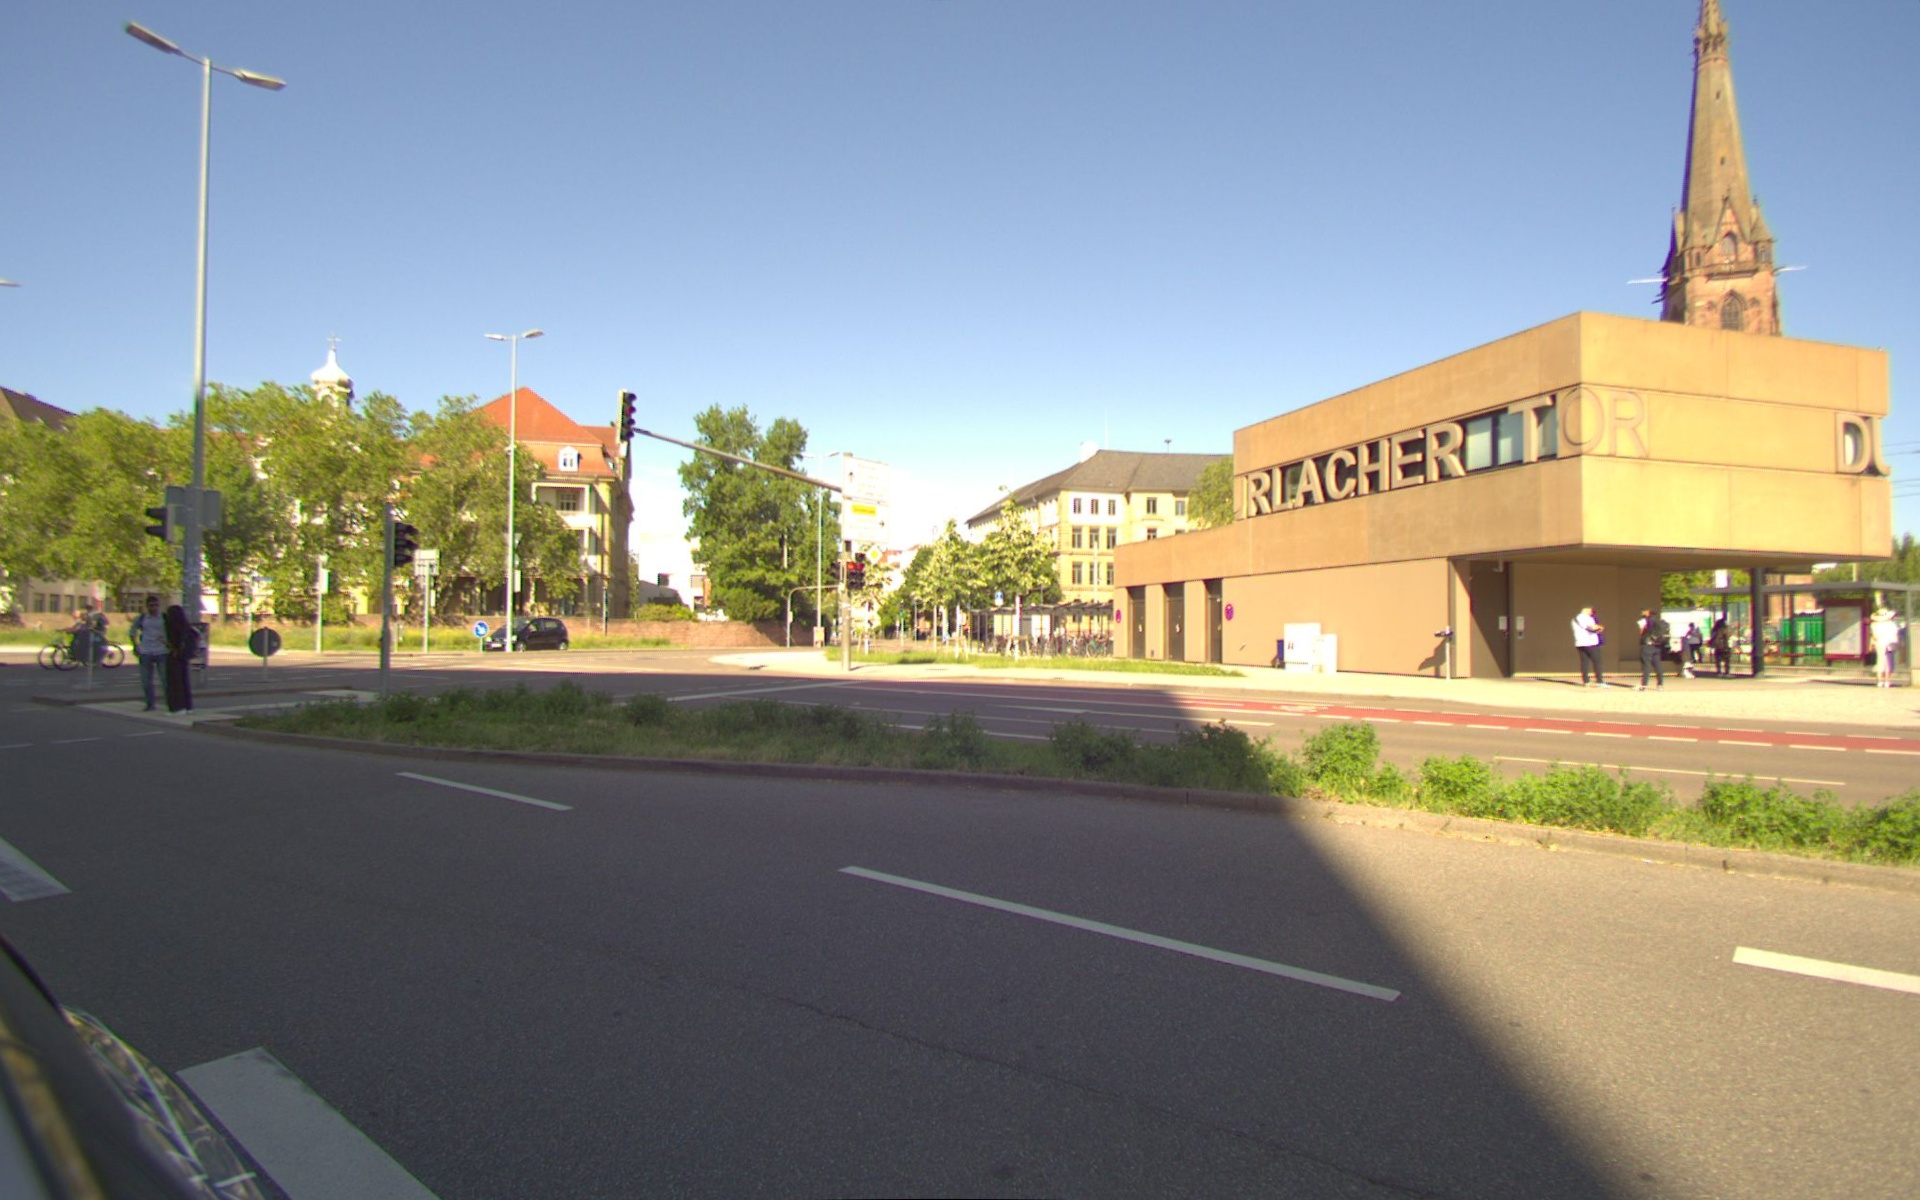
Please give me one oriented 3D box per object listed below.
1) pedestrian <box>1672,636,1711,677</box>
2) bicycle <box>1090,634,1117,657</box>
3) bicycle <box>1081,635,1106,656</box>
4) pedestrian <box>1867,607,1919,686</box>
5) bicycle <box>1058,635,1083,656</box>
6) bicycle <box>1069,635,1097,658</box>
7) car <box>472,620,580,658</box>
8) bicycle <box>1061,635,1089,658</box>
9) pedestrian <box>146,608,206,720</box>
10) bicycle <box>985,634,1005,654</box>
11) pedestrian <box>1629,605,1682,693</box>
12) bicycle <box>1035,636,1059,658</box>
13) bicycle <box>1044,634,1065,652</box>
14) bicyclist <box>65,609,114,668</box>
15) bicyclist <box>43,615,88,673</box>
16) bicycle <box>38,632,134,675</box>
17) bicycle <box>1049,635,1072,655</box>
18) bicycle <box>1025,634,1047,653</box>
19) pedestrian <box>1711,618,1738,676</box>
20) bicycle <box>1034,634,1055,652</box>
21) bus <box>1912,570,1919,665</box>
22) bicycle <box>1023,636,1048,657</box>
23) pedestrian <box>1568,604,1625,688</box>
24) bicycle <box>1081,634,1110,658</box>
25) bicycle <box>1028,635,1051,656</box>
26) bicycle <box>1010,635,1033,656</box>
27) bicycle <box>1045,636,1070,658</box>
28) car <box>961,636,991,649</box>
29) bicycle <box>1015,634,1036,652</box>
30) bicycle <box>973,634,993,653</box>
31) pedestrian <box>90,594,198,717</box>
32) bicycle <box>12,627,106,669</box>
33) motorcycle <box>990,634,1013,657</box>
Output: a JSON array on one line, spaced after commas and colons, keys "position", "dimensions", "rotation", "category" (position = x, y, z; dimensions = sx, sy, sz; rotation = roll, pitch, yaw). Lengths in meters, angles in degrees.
[{"position": [18.204, 1.397, 25.183], "dimensions": [0.501, 0.973, 0.576], "rotation": [1, 0, -10], "category": "pedestrian"}, {"position": [6.980, 2.213, 49.311], "dimensions": [0.558, 1.046, 1.793], "rotation": [2, -2, -19], "category": "bicycle"}, {"position": [6.960, 2.357, 52.794], "dimensions": [0.558, 1.046, 1.793], "rotation": [2, -2, -19], "category": "bicycle"}, {"position": [21.088, 1.029, 22.779], "dimensions": [0.777, 1.736, 0.649], "rotation": [1, 0, -16], "category": "pedestrian"}, {"position": [5.715, 2.347, 52.401], "dimensions": [0.558, 1.046, 1.793], "rotation": [2, -2, -19], "category": "bicycle"}, {"position": [5.893, 2.212, 48.618], "dimensions": [0.558, 1.046, 1.793], "rotation": [2, -2, -19], "category": "bicycle"}, {"position": [-18.673, 1.678, 43.726], "dimensions": [1.984, 1.484, 4.271], "rotation": [-3, -3, 18], "category": "car"}, {"position": [5.291, 2.126, 46.514], "dimensions": [0.558, 1.046, 1.793], "rotation": [2, -2, -19], "category": "bicycle"}, {"position": [-11.691, 0.933, 15.114], "dimensions": [0.671, 1.624, 0.721], "rotation": [1, -2, -36], "category": "pedestrian"}, {"position": [1.981, 2.485, 57.365], "dimensions": [0.558, 1.046, 1.793], "rotation": [2, -2, -19], "category": "bicycle"}, {"position": [14.185, 0.971, 20.631], "dimensions": [0.633, 1.736, 0.749], "rotation": [1, 0, -43], "category": "pedestrian"}, {"position": [4.469, 2.401, 51.946], "dimensions": [0.558, 1.046, 1.793], "rotation": [2, -2, -19], "category": "bicycle"}, {"position": [5.649, 2.582, 60.790], "dimensions": [0.558, 1.046, 1.793], "rotation": [2, -2, -19], "category": "bicycle"}, {"position": [-25.006, 1.097, 29.074], "dimensions": [0.779, 1.675, 0.772], "rotation": [-2, -2, 19], "category": "bicyclist"}, {"position": [-26.109, 1.274, 29.533], "dimensions": [0.639, 1.675, 0.771], "rotation": [-2, -2, 21], "category": "bicyclist"}, {"position": [-25.021, 1.525, 29.018], "dimensions": [0.773, 1.174, 1.955], "rotation": [-2, -3, 18], "category": "bicycle"}, {"position": [5.411, 2.412, 54.602], "dimensions": [0.558, 1.046, 1.793], "rotation": [2, -2, -19], "category": "bicycle"}, {"position": [4.347, 2.479, 58.071], "dimensions": [0.558, 1.046, 1.793], "rotation": [2, -2, -19], "category": "bicycle"}, {"position": [20.322, 1.235, 26.898], "dimensions": [0.509, 1.521, 0.738], "rotation": [1, 0, 41], "category": "pedestrian"}, {"position": [5.033, 2.581, 60.569], "dimensions": [0.558, 1.046, 1.793], "rotation": [2, -2, -19], "category": "bicycle"}, {"position": [35.536, 0.389, 28.701], "dimensions": [2.923, 3.240, 12.624], "rotation": [0, -2, -16], "category": "bus"}, {"position": [3.847, 2.371, 51.747], "dimensions": [0.558, 1.046, 1.793], "rotation": [2, -2, -19], "category": "bicycle"}, {"position": [13.411, 0.959, 21.328], "dimensions": [0.778, 1.736, 0.596], "rotation": [1, 0, -3], "category": "pedestrian"}, {"position": [6.233, 2.105, 46.639], "dimensions": [0.558, 1.046, 1.793], "rotation": [2, -2, -19], "category": "bicycle"}, {"position": [4.245, 2.433, 54.106], "dimensions": [0.558, 1.046, 1.793], "rotation": [2, -2, -19], "category": "bicycle"}, {"position": [3.237, 2.412, 53.505], "dimensions": [0.558, 1.046, 1.793], "rotation": [2, -2, -19], "category": "bicycle"}, {"position": [5.030, 2.418, 52.140], "dimensions": [0.558, 1.046, 1.793], "rotation": [2, -2, -19], "category": "bicycle"}, {"position": [2.226, 6.014, 143.939], "dimensions": [3.735, 1.830, 2.006], "rotation": [1, -2, -28], "category": "car"}, {"position": [3.892, 2.559, 60.156], "dimensions": [0.558, 1.046, 1.793], "rotation": [2, -2, -19], "category": "bicycle"}, {"position": [1.354, 2.541, 59.292], "dimensions": [0.558, 1.046, 1.793], "rotation": [2, -2, -19], "category": "bicycle"}, {"position": [-12.691, 0.846, 15.778], "dimensions": [0.748, 1.846, 1.092], "rotation": [-1, -1, 11], "category": "pedestrian"}, {"position": [-26.156, 1.383, 29.435], "dimensions": [0.639, 1.174, 1.953], "rotation": [-2, -3, 22], "category": "bicycle"}, {"position": [2.120, 2.321, 51.810], "dimensions": [0.585, 1.128, 1.990], "rotation": [0, -2, -15], "category": "motorcycle"}]
